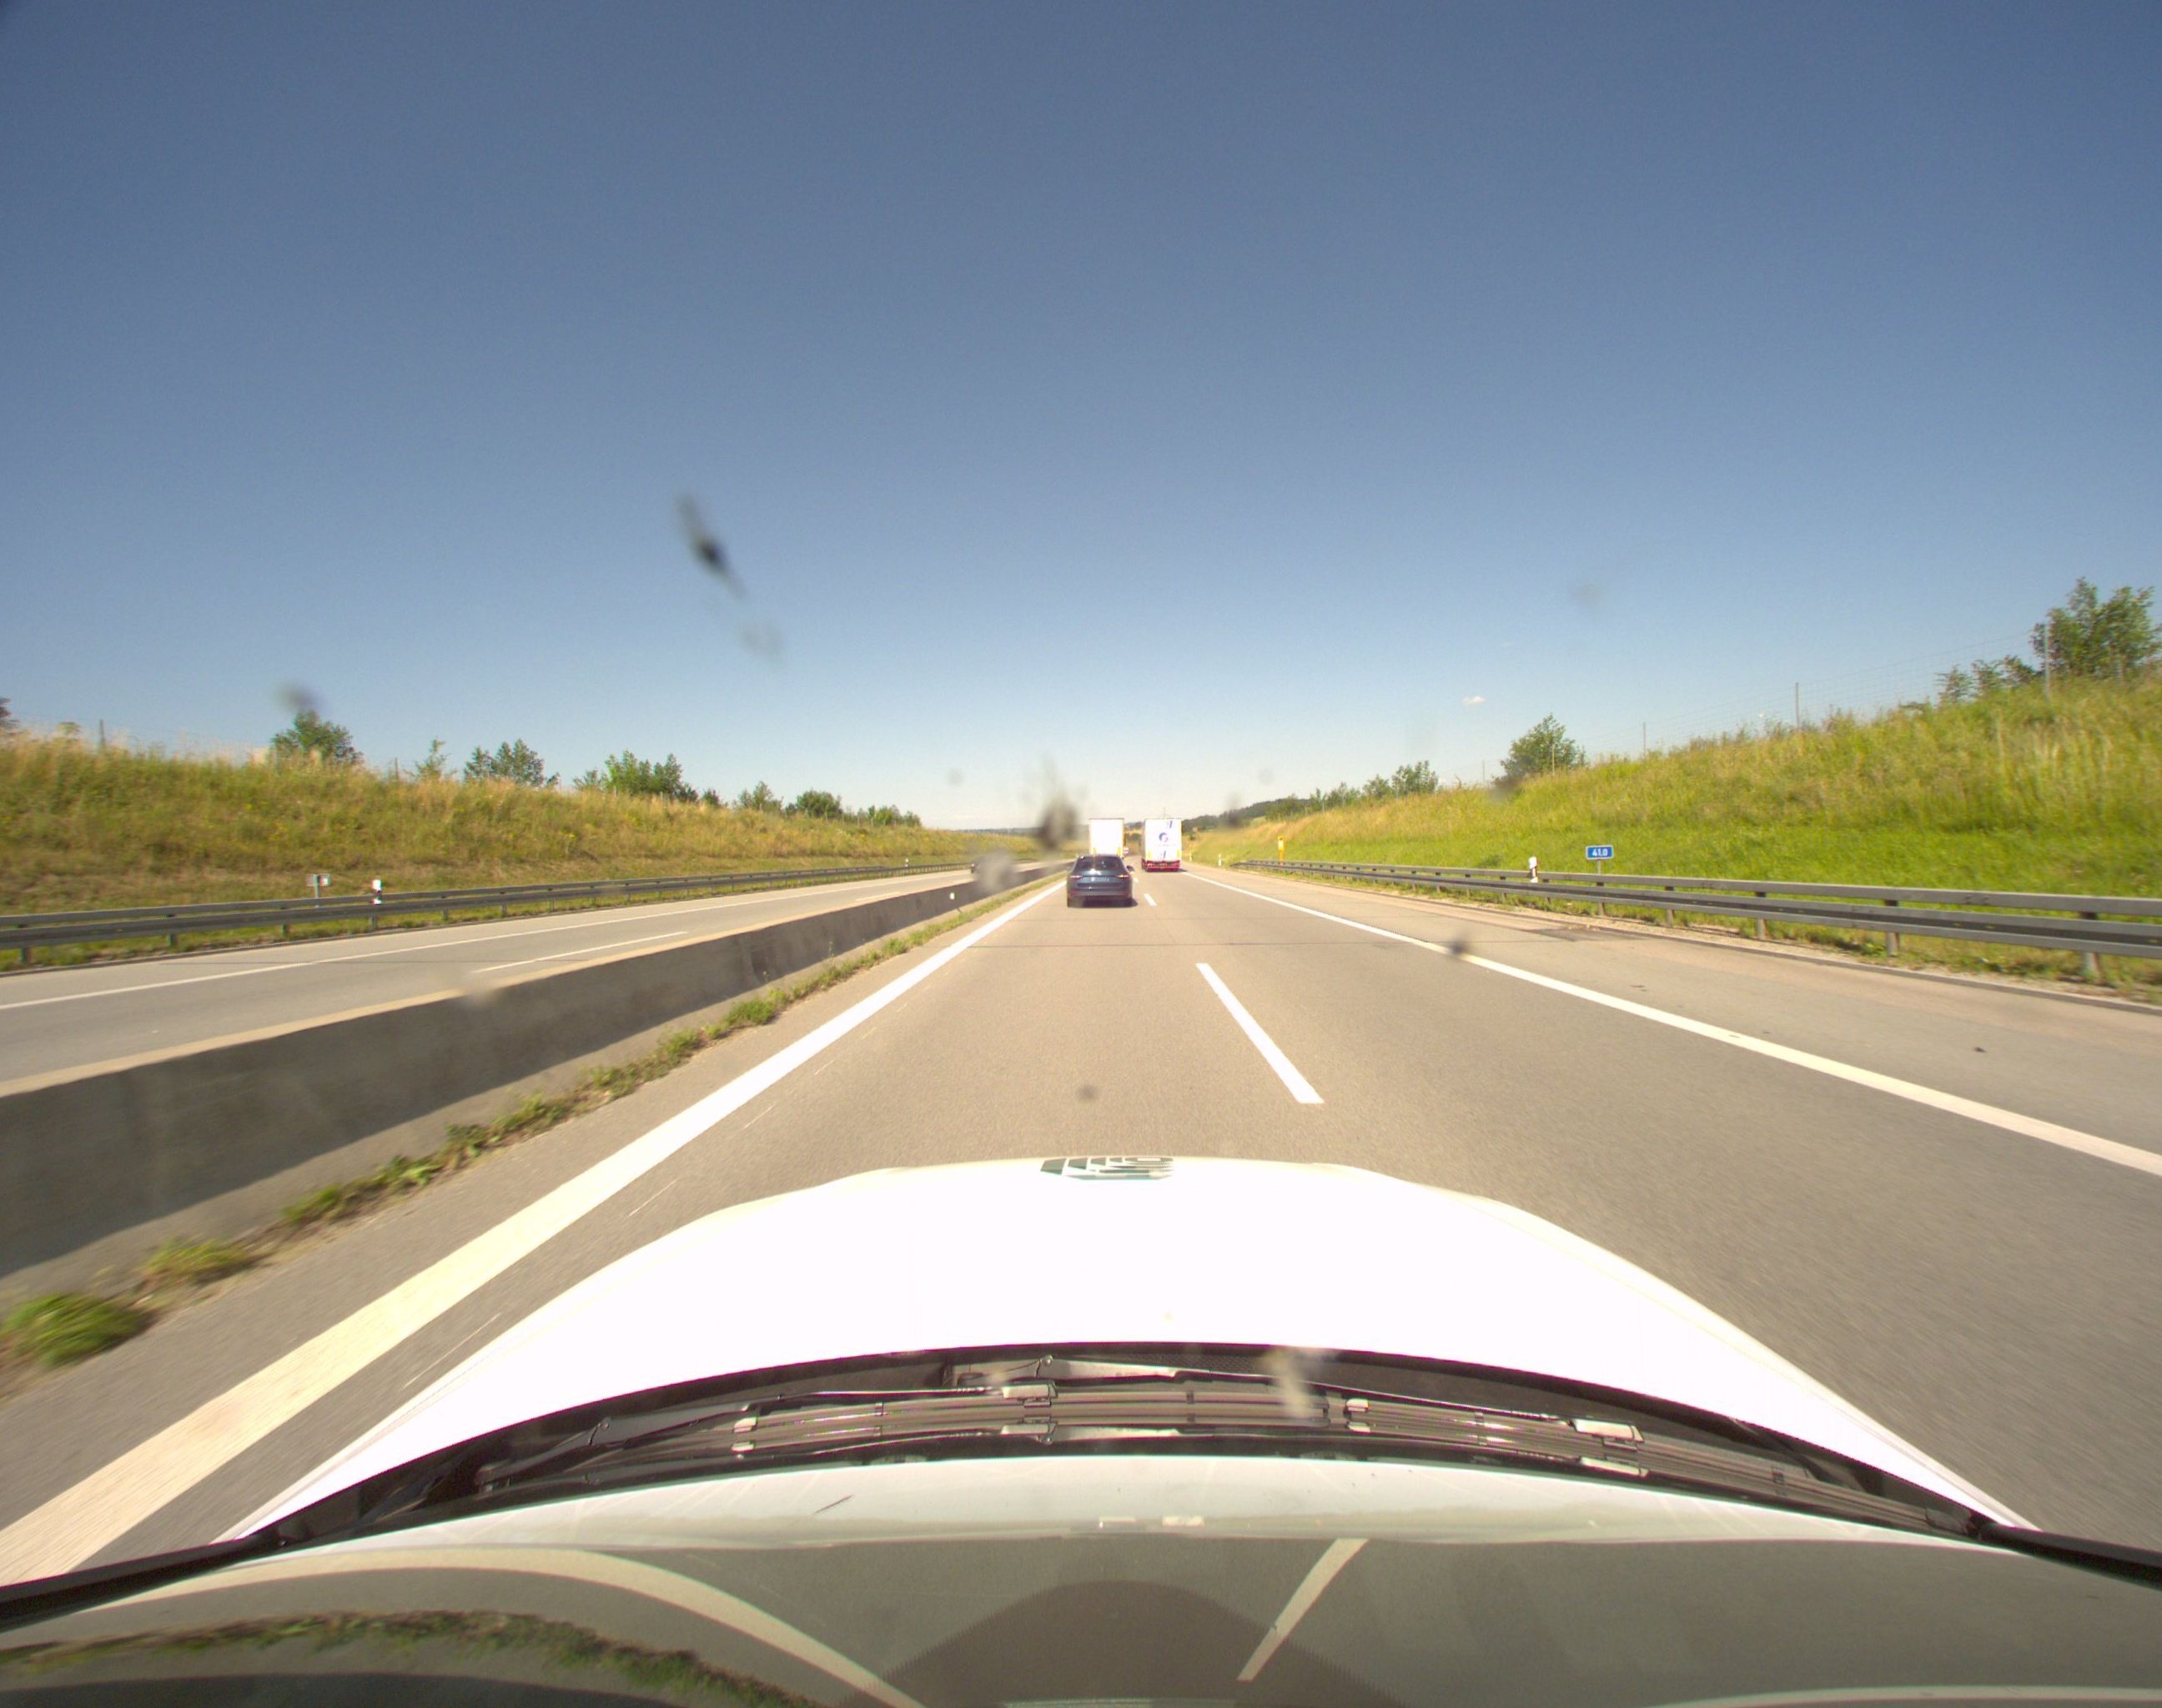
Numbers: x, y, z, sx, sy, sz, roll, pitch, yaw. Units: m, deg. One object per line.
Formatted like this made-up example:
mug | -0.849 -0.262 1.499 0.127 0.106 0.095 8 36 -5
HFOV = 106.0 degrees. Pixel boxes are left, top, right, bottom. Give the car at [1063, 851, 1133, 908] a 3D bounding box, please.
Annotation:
car | 0.458 0.647 23.067 1.771 1.441 3.789 -1 0 0

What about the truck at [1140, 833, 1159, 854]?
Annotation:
truck | 15.307 -2.250 182.839 3.591 4.381 11.239 -4 0 2

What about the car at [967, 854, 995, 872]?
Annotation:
car | -8.676 0.747 70.786 1.739 1.356 4.002 -4 0 2

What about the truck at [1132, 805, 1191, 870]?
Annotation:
truck | 6.117 -1.237 63.958 3.591 4.381 11.239 -4 0 2

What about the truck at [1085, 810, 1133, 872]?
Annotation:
truck | 2.298 -1.020 65.722 3.198 4.381 11.240 -4 0 2
